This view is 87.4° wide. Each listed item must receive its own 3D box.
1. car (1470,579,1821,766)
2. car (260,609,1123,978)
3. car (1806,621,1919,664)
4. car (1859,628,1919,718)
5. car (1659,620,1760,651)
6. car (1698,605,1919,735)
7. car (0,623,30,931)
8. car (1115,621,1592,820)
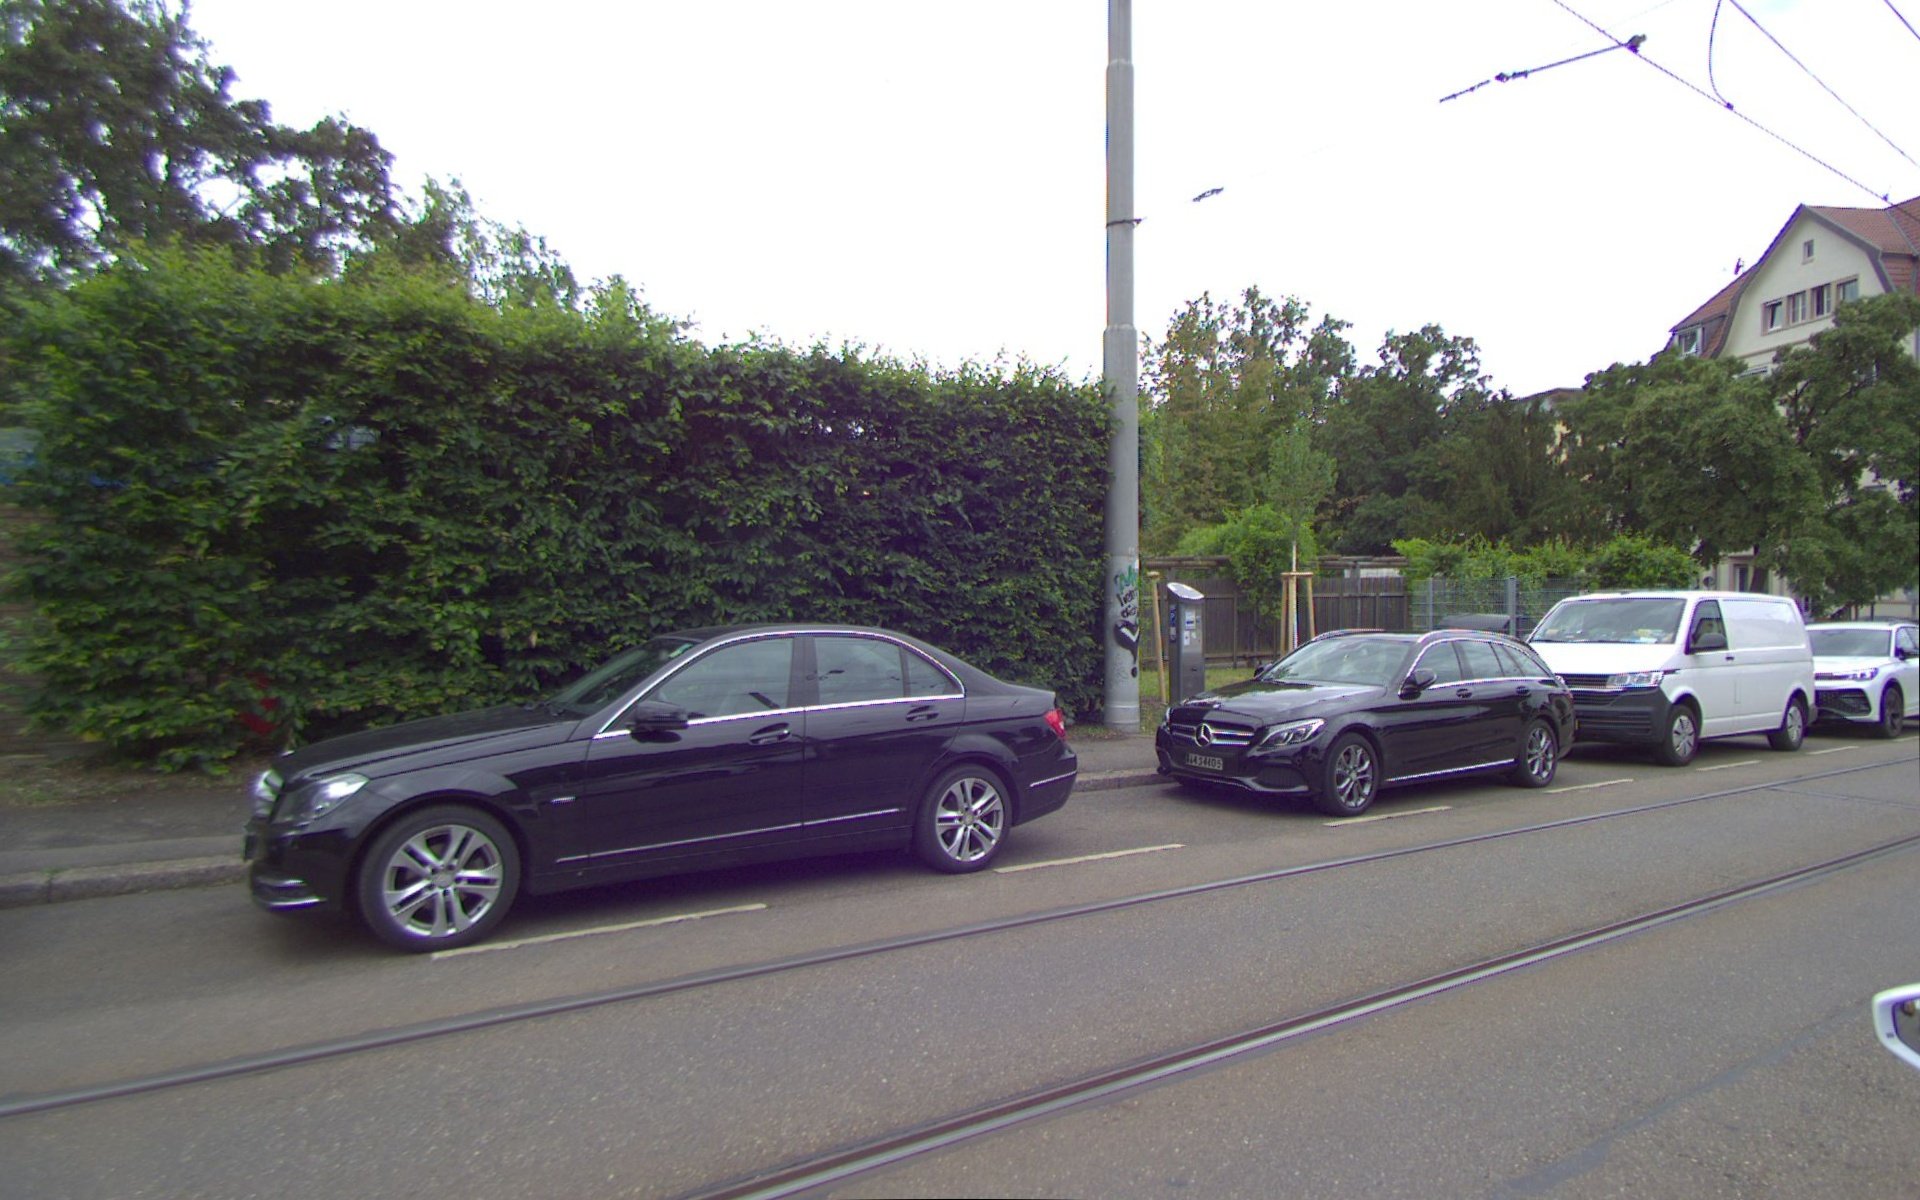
[{"bbox_3d":[8.615,0.828,12.506,4.684,1.938,1.957,2,-1,-33],"label":"car"},{"bbox_3d":[-1.321,0.825,5.850,4.392,1.405,1.829,2,-1,-33],"label":"car"},{"bbox_3d":[38.237,1.770,42.204,1.841,1.592,3.997,1,0,-5],"label":"car"},{"bbox_3d":[18.135,1.333,18.254,3.828,1.529,1.728,2,-1,-33],"label":"car"},{"bbox_3d":[37.451,1.740,50.303,1.841,1.372,3.997,1,0,-5],"label":"car"},{"bbox_3d":[13.433,1.009,15.379,4.583,1.709,1.957,2,-1,-33],"label":"car"},{"bbox_3d":[-5.885,0.760,3.098,4.117,1.423,1.779,2,-1,-33],"label":"car"},{"bbox_3d":[3.735,0.961,9.257,4.469,1.405,1.829,2,-1,-33],"label":"car"}]
